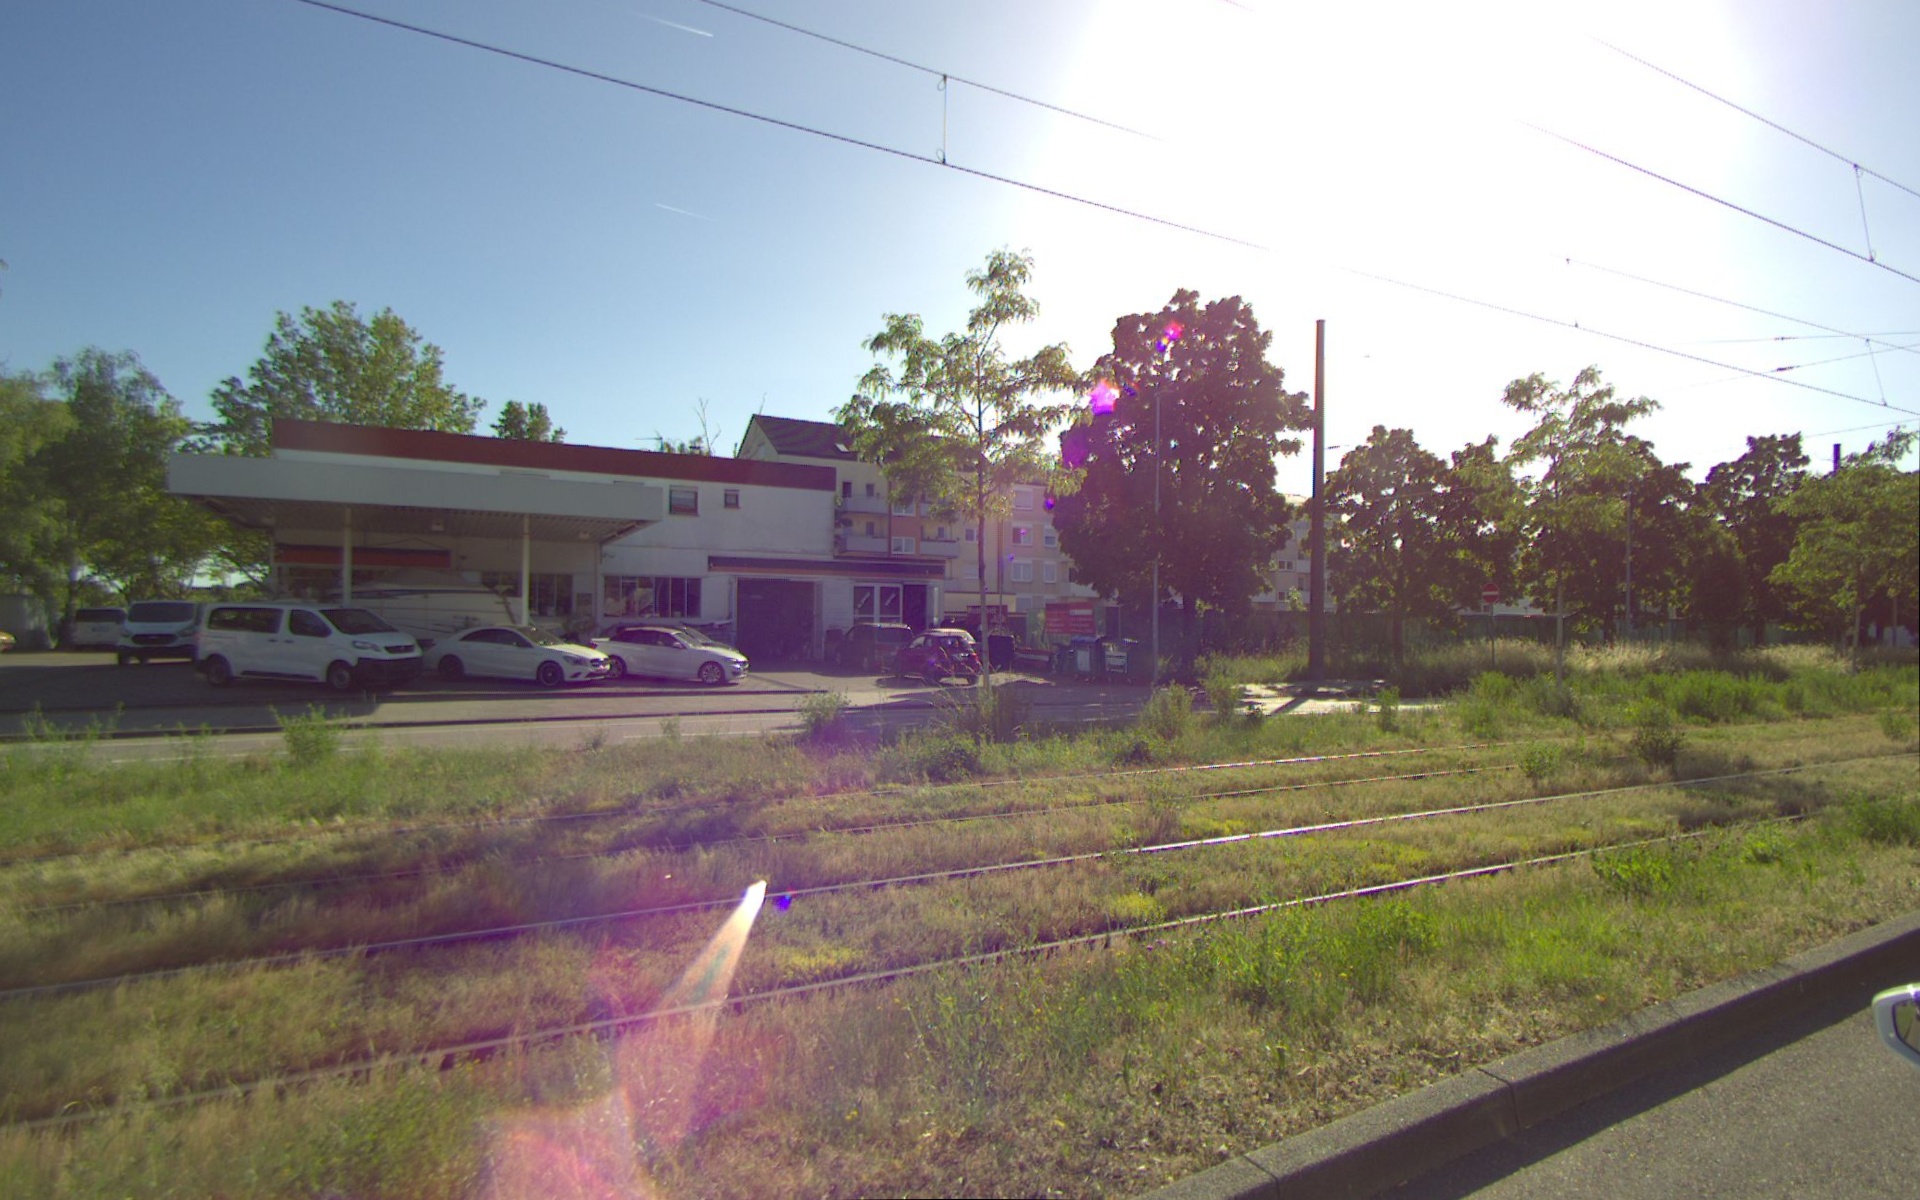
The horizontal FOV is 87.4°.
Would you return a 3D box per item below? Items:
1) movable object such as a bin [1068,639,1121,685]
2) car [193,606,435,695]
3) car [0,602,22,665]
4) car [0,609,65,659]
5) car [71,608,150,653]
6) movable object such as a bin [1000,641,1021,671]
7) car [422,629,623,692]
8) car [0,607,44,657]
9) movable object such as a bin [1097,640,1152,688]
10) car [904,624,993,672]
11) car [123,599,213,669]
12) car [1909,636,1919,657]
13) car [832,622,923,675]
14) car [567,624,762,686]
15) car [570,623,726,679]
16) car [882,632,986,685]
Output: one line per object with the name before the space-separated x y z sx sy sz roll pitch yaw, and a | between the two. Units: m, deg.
movable object such as a bin | 4.174 1.907 31.125 1.109 1.382 1.217 2 -2 -32
car | -14.875 1.113 23.203 4.713 1.936 1.900 0 0 11
car | -33.123 1.064 32.255 3.952 2.040 1.985 1 -2 -30
car | -34.876 1.212 35.867 3.952 1.767 1.985 1 -2 -30
car | -36.979 1.297 43.841 1.922 1.788 4.453 2 0 -31
movable object such as a bin | 1.822 2.006 36.261 0.597 1.043 0.501 2 -1 -33
car | -10.990 1.489 25.367 4.367 1.443 1.718 1 -2 7
car | -37.554 1.216 37.936 3.952 1.886 1.985 1 -2 -30
movable object such as a bin | 4.915 1.898 30.054 1.109 1.387 1.217 2 -1 -32
car | -0.464 1.694 36.402 1.683 1.529 3.803 1 0 -27
car | -24.885 1.064 31.692 1.872 2.013 4.567 1 -2 -34
car | 69.241 3.277 70.132 1.831 1.422 3.970 4 -3 -29
car | -2.956 1.655 35.226 1.686 1.655 3.724 1 0 -32
car | -8.109 1.504 27.925 4.793 1.528 2.028 2 -2 -1
car | -9.865 1.595 31.893 4.213 1.571 2.029 1 -2 9
car | -0.872 1.761 31.304 1.623 1.532 3.681 1 -2 -32
